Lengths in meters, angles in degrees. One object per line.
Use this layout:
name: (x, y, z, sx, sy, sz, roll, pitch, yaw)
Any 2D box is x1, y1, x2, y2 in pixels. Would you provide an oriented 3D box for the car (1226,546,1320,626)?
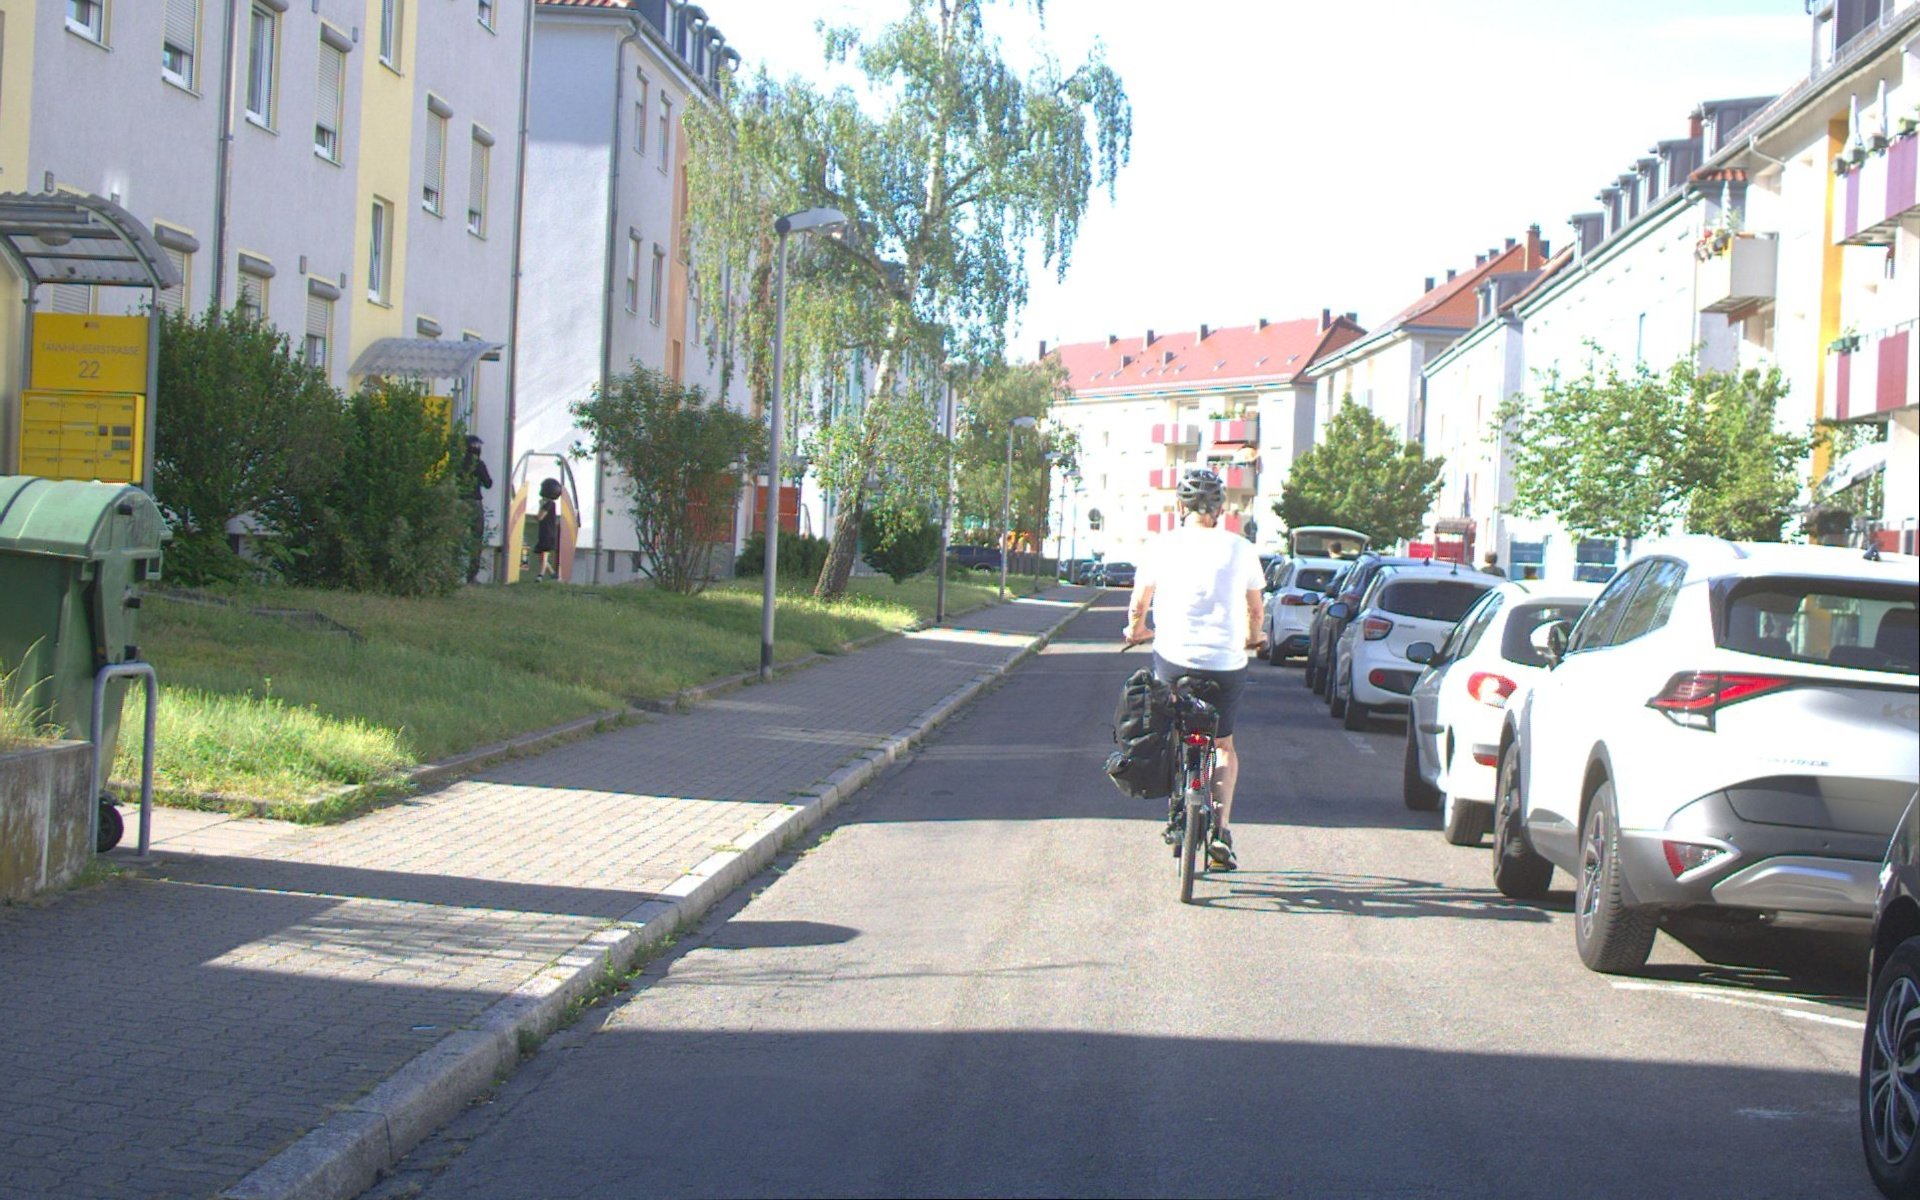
car: (6.816, -0.314, 75.231, 1.806, 1.599, 4.404, 3, 1, 3)

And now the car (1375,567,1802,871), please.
car: (3.405, 0.585, 19.246, 1.757, 1.427, 3.629, 3, 1, 2)

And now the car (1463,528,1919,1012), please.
car: (3.268, 0.578, 13.725, 1.983, 1.586, 4.124, 3, 1, 2)

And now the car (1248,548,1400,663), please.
car: (5.176, 0.053, 49.358, 1.894, 1.491, 4.091, 3, 1, 3)

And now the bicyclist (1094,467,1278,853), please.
bicyclist: (0.969, 0.248, 14.839, 0.694, 1.591, 0.791, 3, 0, 3)

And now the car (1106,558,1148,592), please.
car: (8.239, -1.234, 169.777, 1.757, 1.570, 3.904, 2, 1, -1)

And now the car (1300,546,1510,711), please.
car: (4.632, 0.264, 36.266, 1.835, 1.552, 4.000, 3, 1, 3)

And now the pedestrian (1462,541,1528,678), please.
pedestrian: (8.058, 0.131, 51.811, 0.791, 2.007, 1.082, 2, 1, 3)

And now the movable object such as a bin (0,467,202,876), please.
movable object such as a bin: (-3.860, 0.226, 13.216, 1.492, 1.473, 1.265, 3, 1, 3)

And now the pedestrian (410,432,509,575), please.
pedestrian: (-6.220, -1.194, 42.753, 0.971, 1.709, 0.946, 3, 1, 3)

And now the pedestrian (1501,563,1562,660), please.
pedestrian: (10.053, 0.198, 60.475, 0.713, 1.672, 0.792, 3, 1, 36)

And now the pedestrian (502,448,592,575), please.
pedestrian: (-5.148, -1.095, 42.894, 0.864, 1.516, 1.068, 3, 1, 3)

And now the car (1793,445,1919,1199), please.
car: (3.007, 0.566, 6.711, 1.864, 1.724, 4.294, 3, 1, 3)

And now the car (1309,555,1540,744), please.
car: (4.173, 0.405, 31.344, 1.631, 1.486, 3.623, 5, 1, 2)

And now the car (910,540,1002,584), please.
car: (-0.163, -1.685, 154.104, 3.987, 1.795, 2.000, 2, 1, 2)

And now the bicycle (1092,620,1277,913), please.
bicycle: (0.946, 0.682, 14.846, 0.661, 1.123, 1.766, 4, 1, 2)

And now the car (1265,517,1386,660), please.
car: (5.830, -0.200, 55.160, 1.619, 2.136, 4.000, 3, 1, 3)
